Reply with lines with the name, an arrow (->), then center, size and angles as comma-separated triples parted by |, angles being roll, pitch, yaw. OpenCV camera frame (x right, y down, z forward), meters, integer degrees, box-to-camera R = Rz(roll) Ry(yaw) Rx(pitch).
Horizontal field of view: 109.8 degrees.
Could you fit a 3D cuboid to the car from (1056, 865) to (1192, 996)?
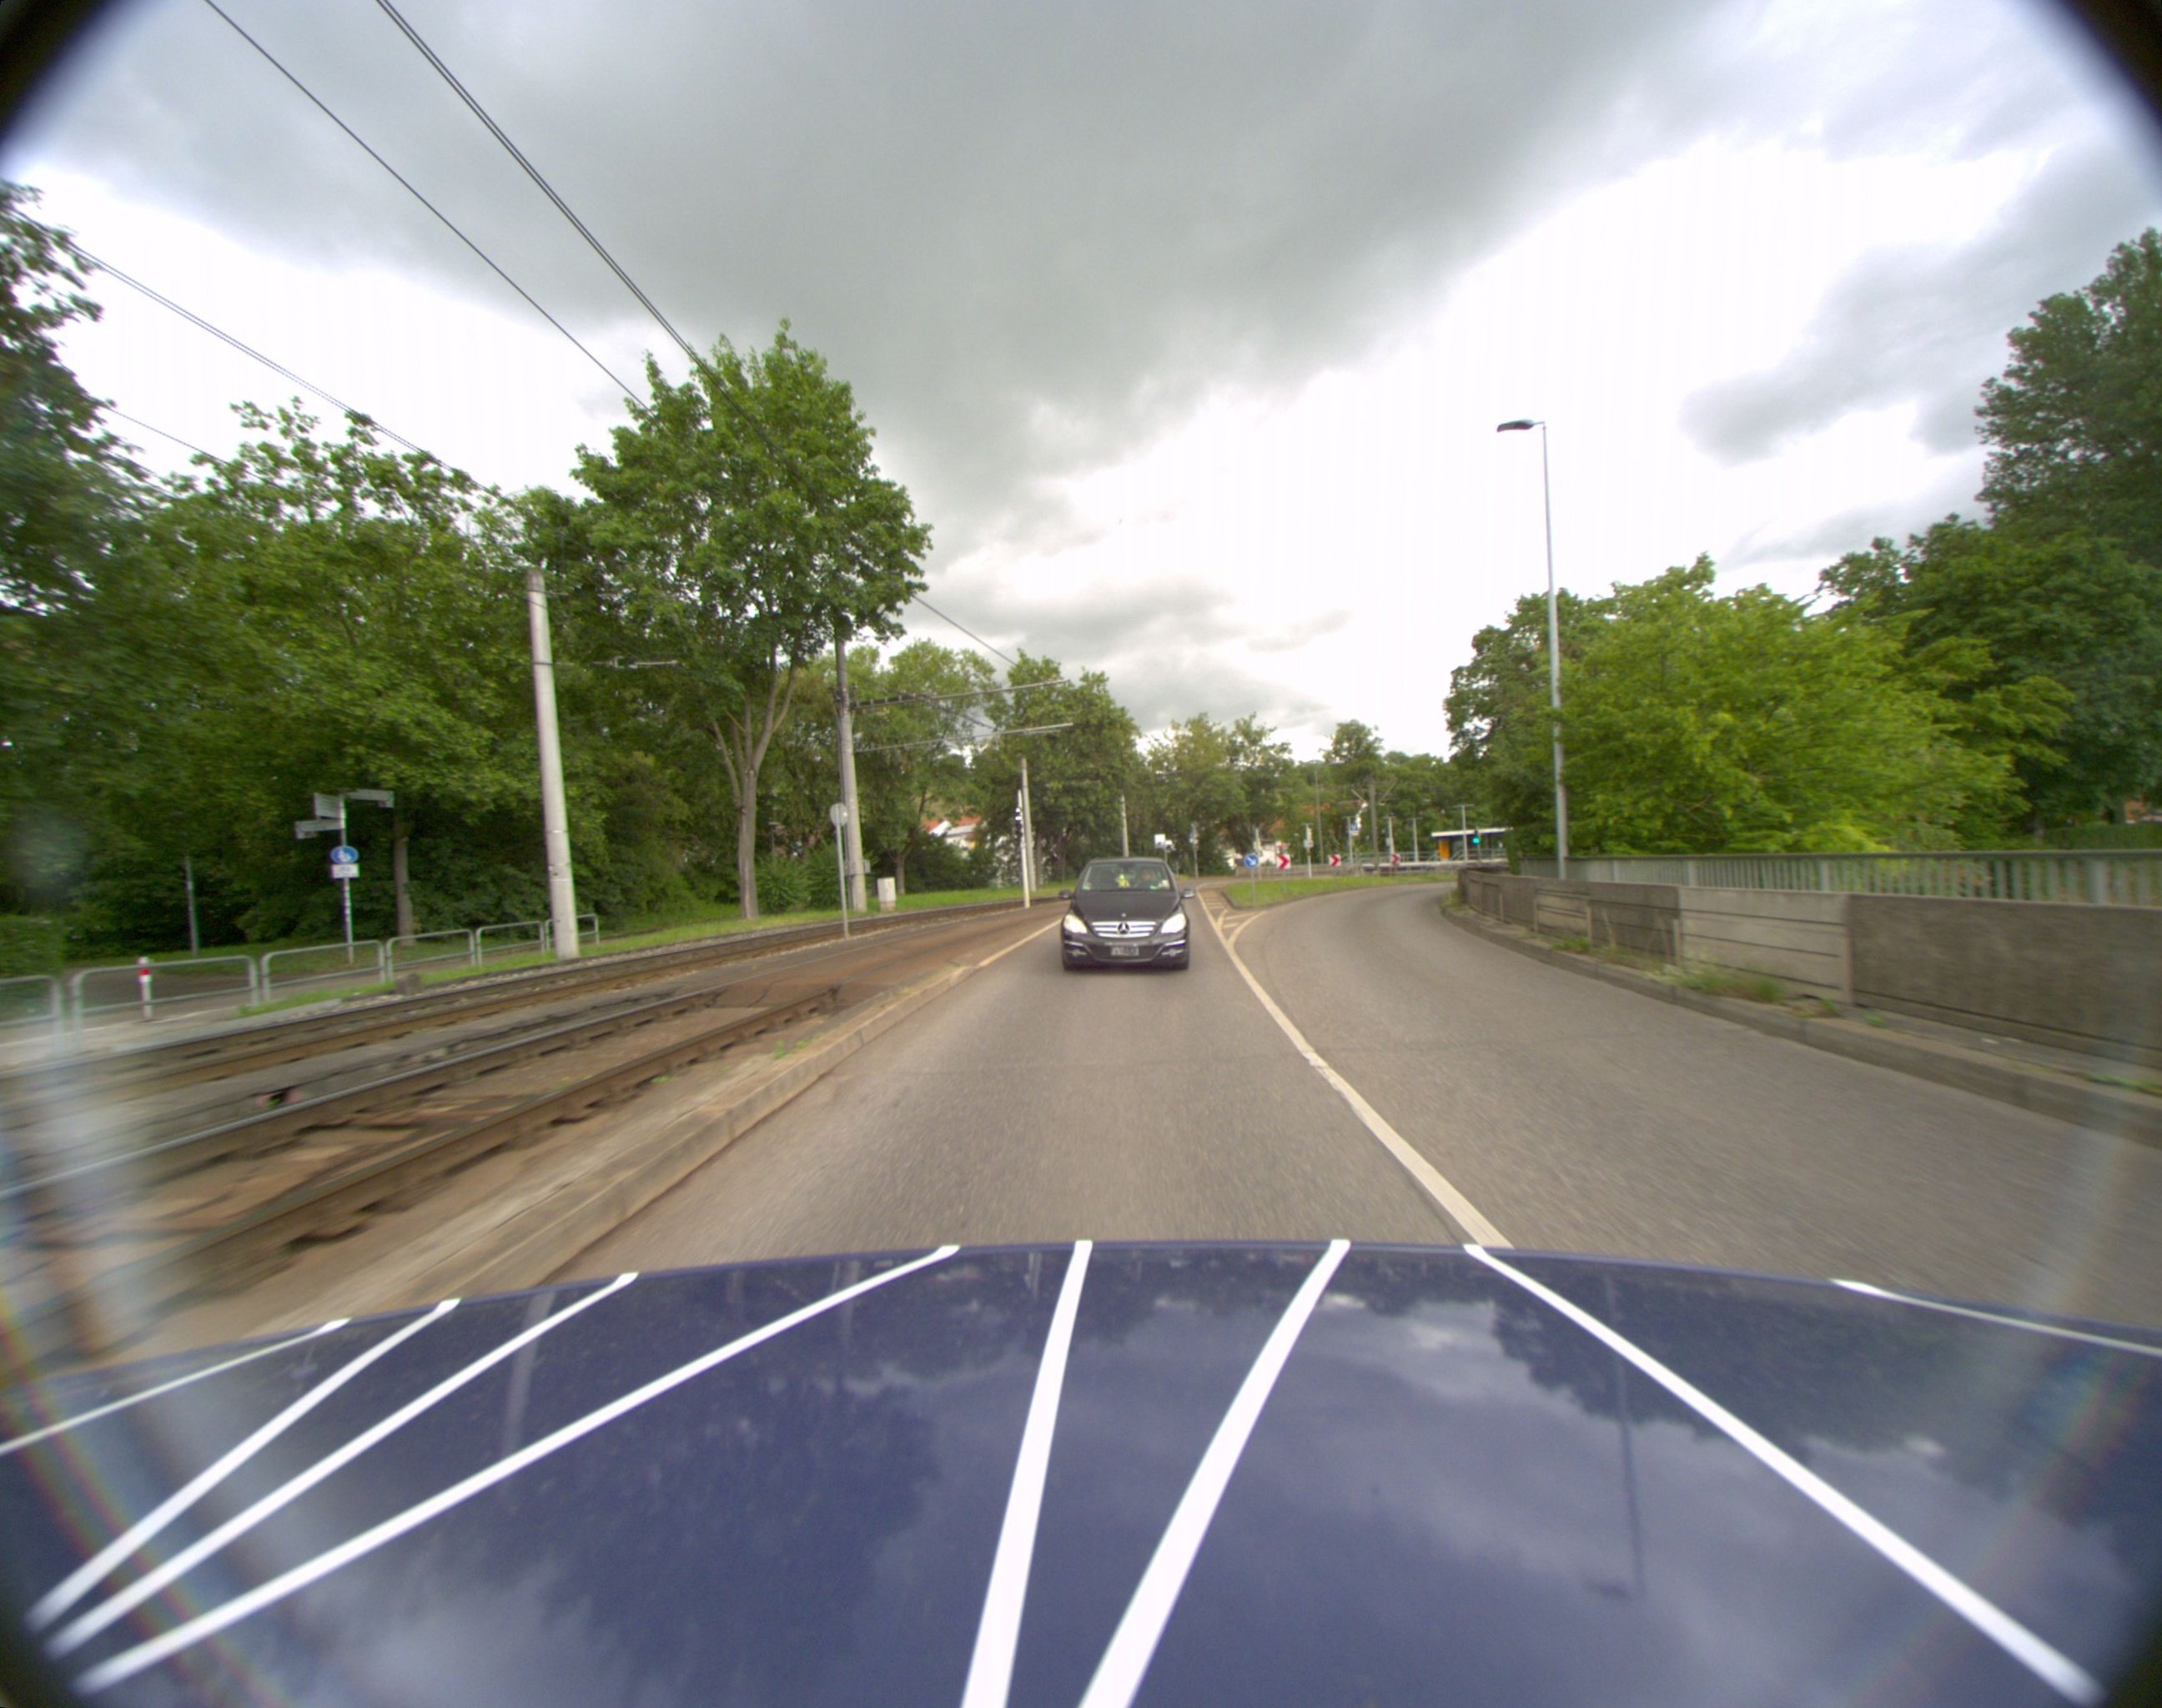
car -> 0.791, 1.029, 11.976 | 1.711, 1.573, 4.444 | -1, 0, 6
